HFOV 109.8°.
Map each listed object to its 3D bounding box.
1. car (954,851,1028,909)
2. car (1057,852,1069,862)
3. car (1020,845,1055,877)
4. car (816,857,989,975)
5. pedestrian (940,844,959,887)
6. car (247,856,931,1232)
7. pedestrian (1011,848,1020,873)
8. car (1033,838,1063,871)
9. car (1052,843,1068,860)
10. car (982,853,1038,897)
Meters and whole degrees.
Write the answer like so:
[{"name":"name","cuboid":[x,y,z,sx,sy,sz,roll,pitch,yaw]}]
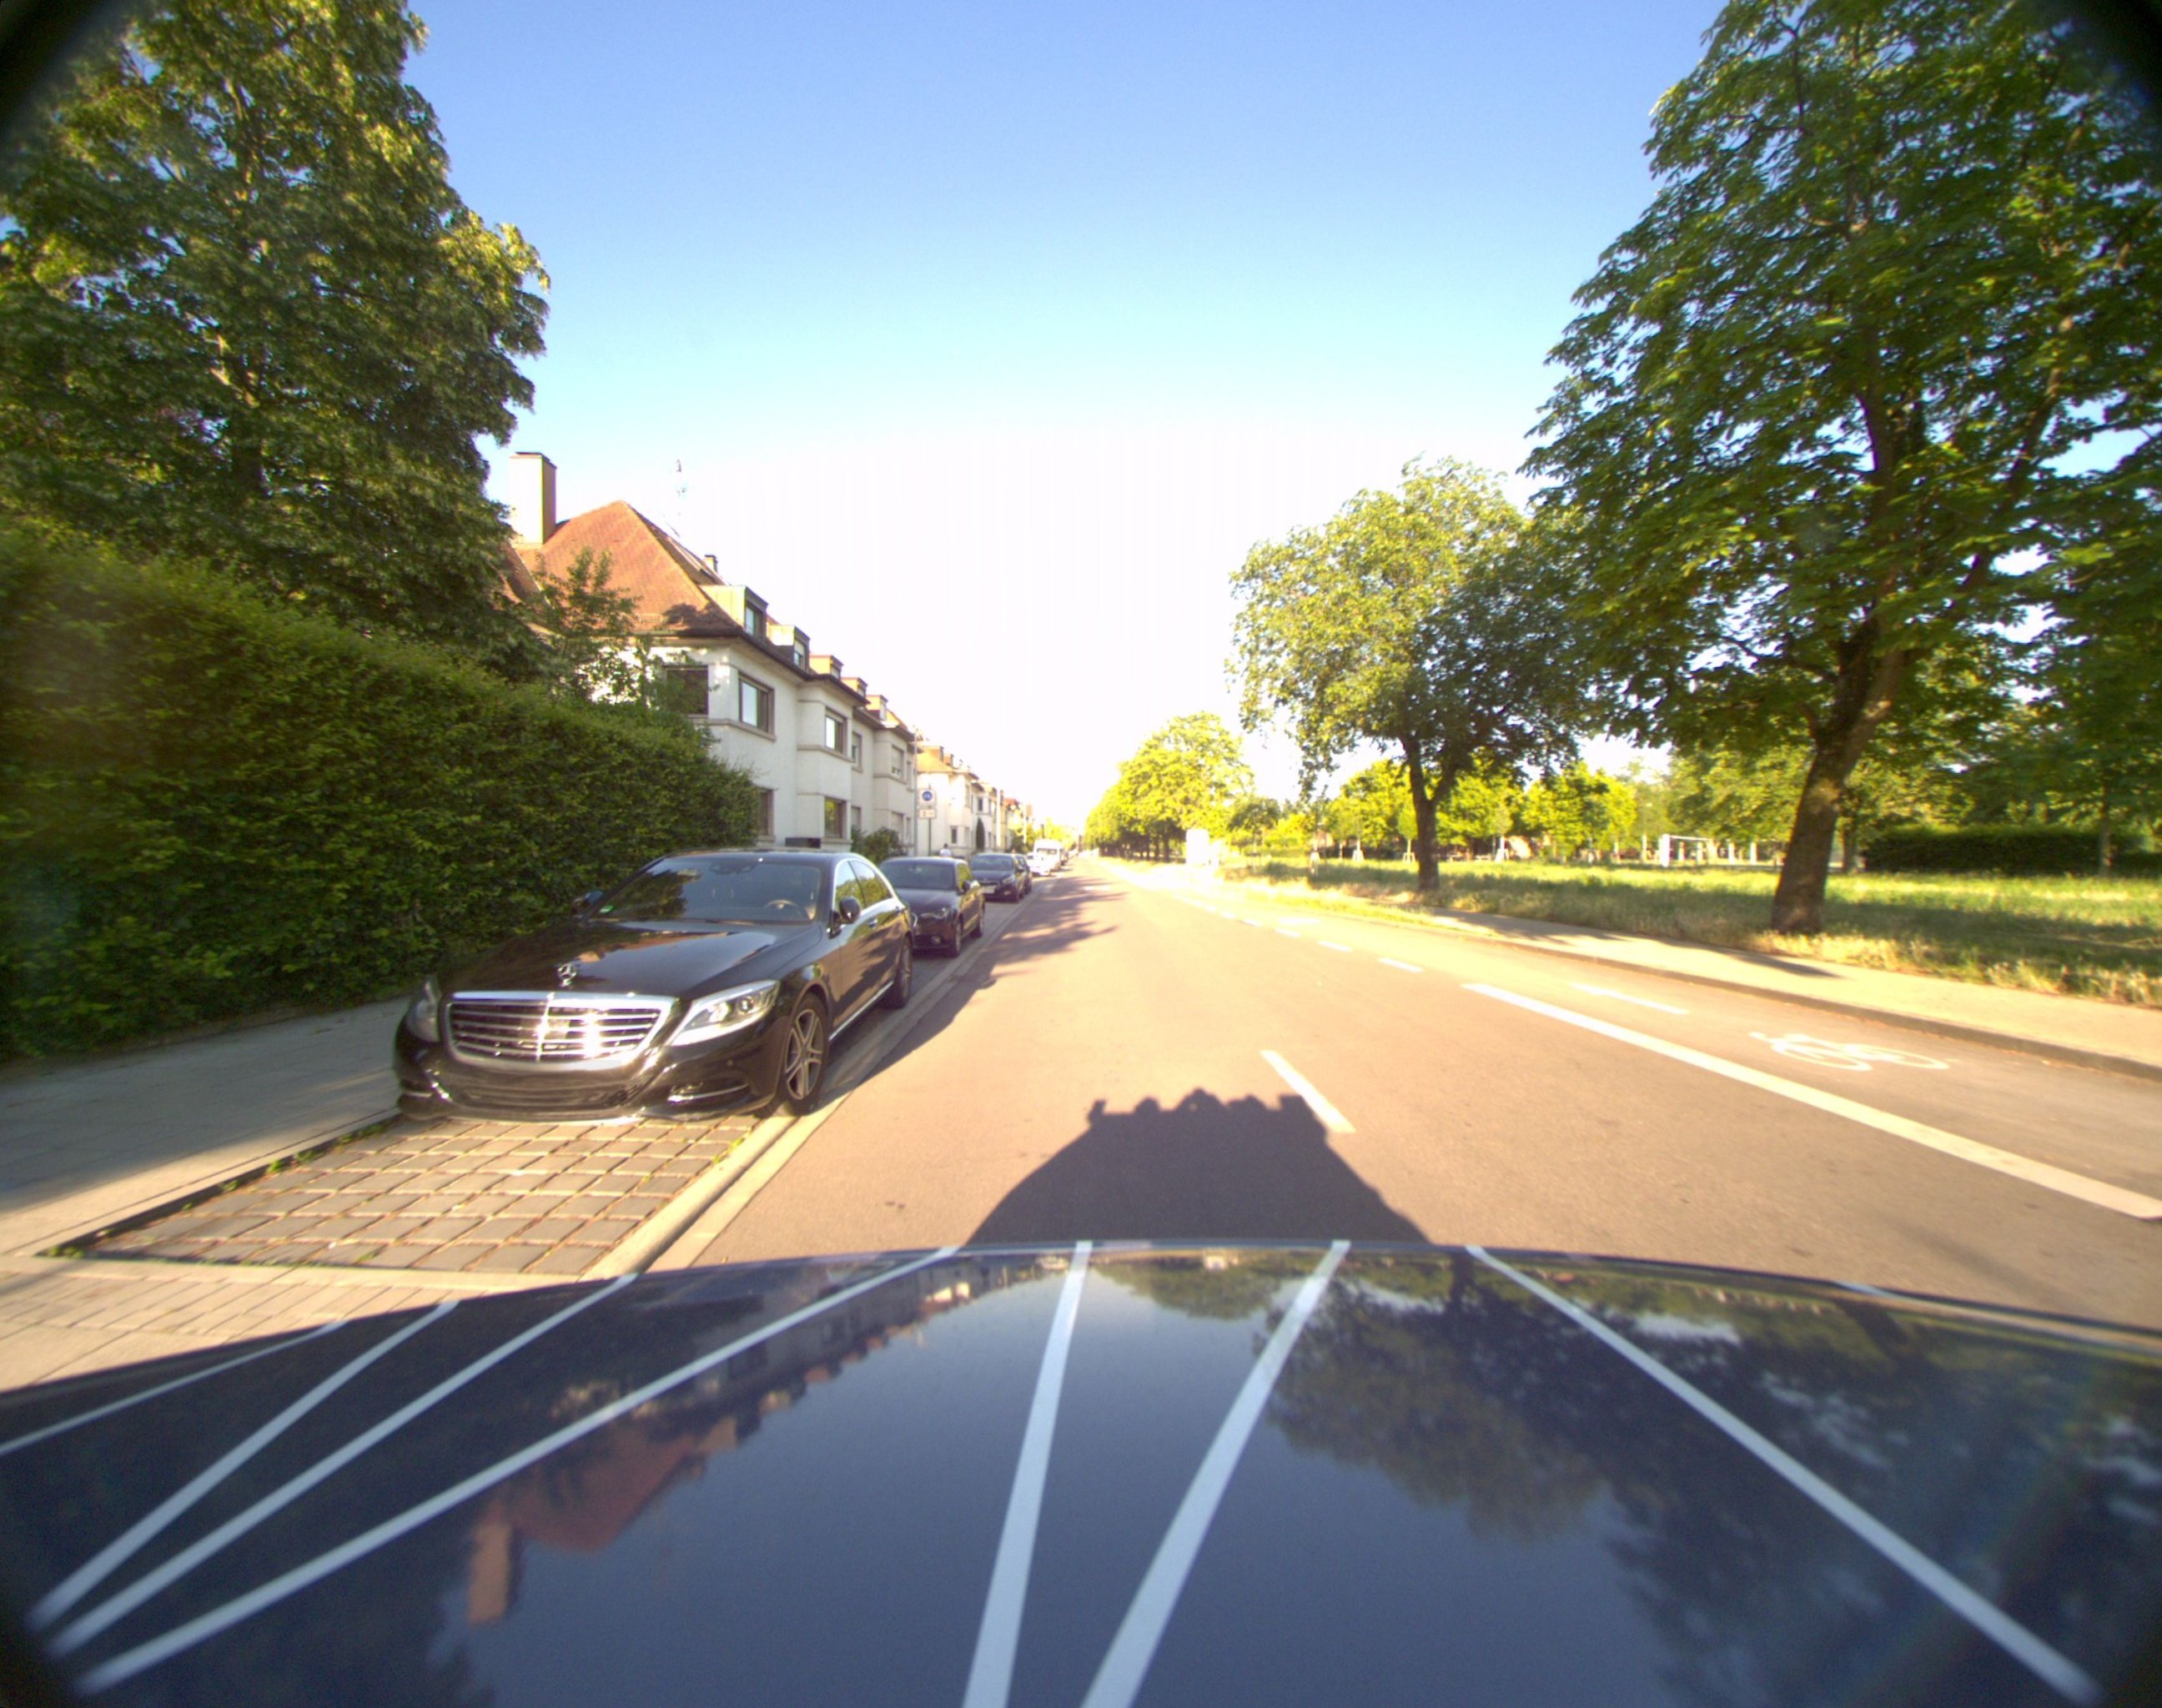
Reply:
[{"name":"car","cuboid":[-2.670,0.733,23.399,1.796,1.587,4.076,-2,0,-1]},{"name":"car","cuboid":[-2.828,0.430,118.540,1.682,1.543,3.842,1,1,-2]},{"name":"car","cuboid":[-2.677,0.391,47.652,1.999,1.775,3.998,-2,2,-1]},{"name":"car","cuboid":[-2.596,0.827,12.028,1.784,1.469,3.999,-2,0,-1]},{"name":"pedestrian","cuboid":[-5.712,0.480,33.005,0.587,1.836,0.823,-2,2,1]},{"name":"car","cuboid":[-2.510,0.810,5.608,2.009,1.490,4.913,2,0,-3]},{"name":"pedestrian","cuboid":[-4.721,0.440,54.601,0.531,1.788,0.589,-2,1,-2]},{"name":"car","cuboid":[-2.619,-0.007,61.099,2.132,2.462,5.722,-2,2,-1]},{"name":"car","cuboid":[-2.486,-0.340,90.359,1.708,1.848,3.712,-2,2,0]},{"name":"car","cuboid":[-2.633,0.741,28.862,1.680,1.525,3.471,-2,0,1]}]
